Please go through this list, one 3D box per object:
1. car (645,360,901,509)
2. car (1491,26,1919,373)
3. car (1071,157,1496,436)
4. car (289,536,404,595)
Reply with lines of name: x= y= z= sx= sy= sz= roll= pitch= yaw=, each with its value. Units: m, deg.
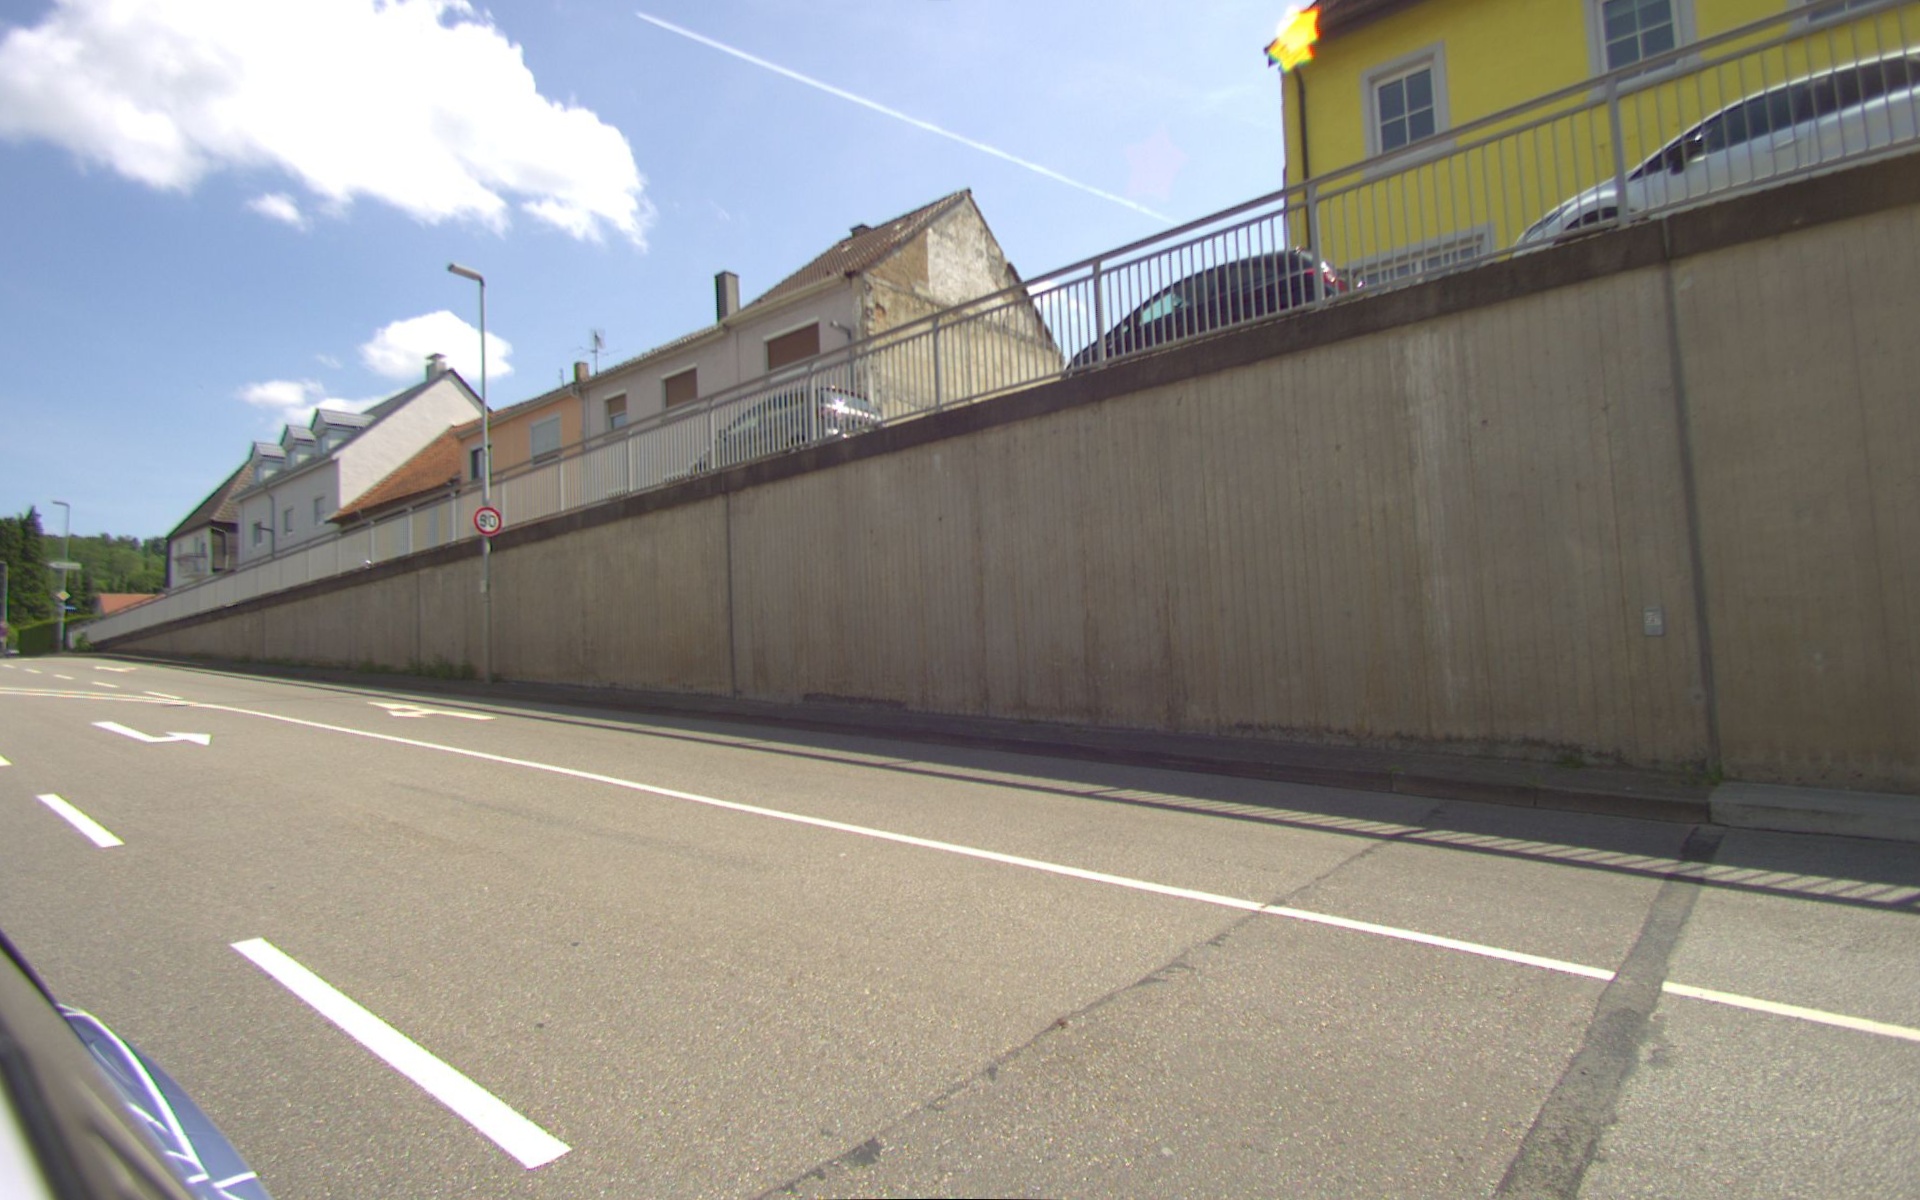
car: x=-3.224 y=-2.621 z=16.943 sx=4.388 sy=1.536 sz=1.781 roll=-5 pitch=-4 yaw=39
car: x=7.127 y=-3.406 z=8.885 sx=3.996 sy=1.681 sz=1.883 roll=-5 pitch=-4 yaw=39
car: x=3.578 y=-3.213 z=11.626 sx=4.218 sy=1.718 sz=1.804 roll=-5 pitch=-4 yaw=39
car: x=-19.473 y=-1.035 z=32.058 sx=4.388 sy=1.416 sz=1.768 roll=-5 pitch=-4 yaw=39
